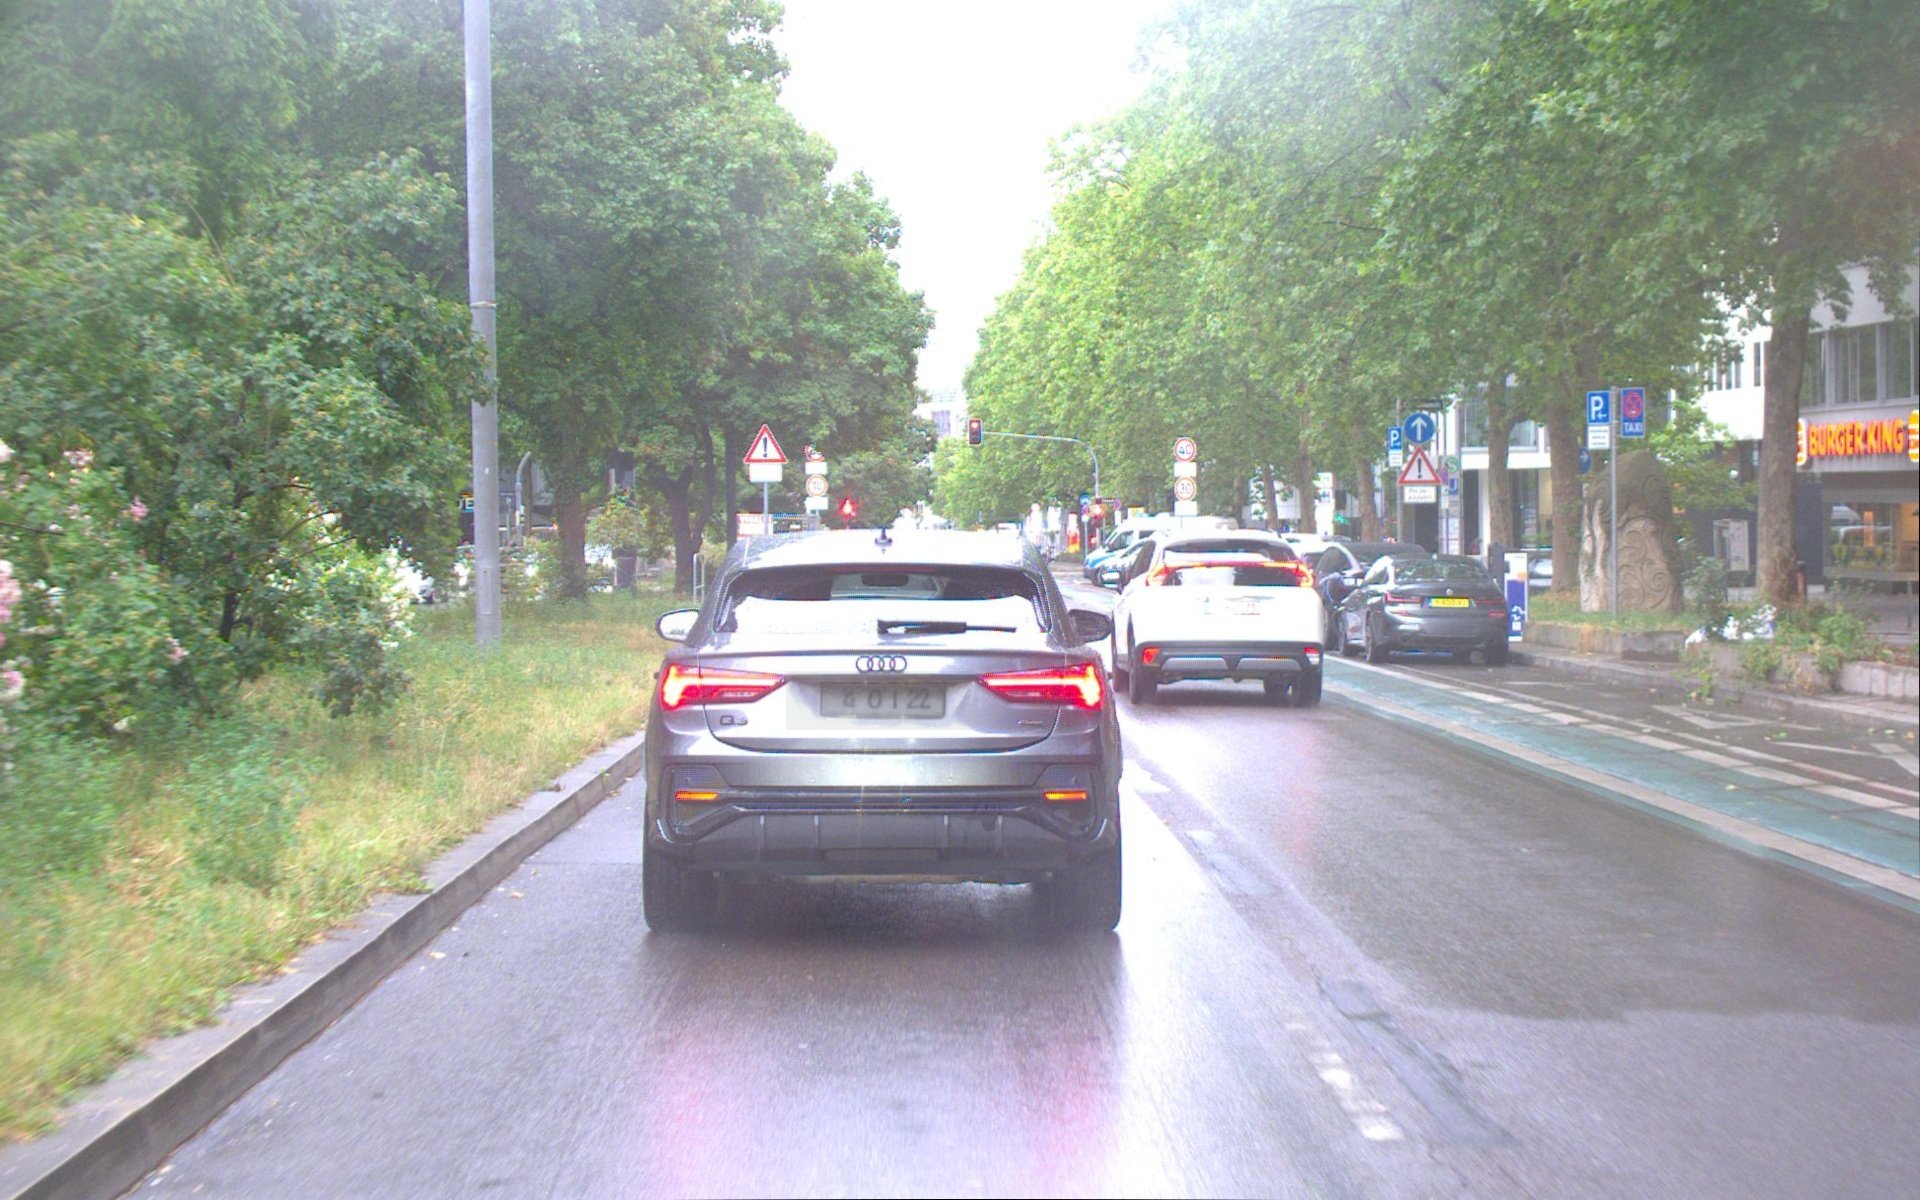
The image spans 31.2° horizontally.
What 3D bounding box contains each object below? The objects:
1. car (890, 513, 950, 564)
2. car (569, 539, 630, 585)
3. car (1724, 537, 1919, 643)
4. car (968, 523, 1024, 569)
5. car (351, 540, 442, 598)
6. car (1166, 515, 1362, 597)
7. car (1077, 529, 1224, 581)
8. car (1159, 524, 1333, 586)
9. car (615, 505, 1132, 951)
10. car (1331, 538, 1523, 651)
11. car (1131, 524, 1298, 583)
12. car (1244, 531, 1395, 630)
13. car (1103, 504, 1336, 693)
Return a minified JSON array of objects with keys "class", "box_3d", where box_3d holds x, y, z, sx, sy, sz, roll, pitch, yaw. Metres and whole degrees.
[{"class":"car","box_3d":[-1.410,-2.144,120.128,1.993,1.720,4.000,1,0,-1]},{"class":"car","box_3d":[-13.891,-1.452,132.604,1.760,1.698,4.333,1,0,1]},{"class":"car","box_3d":[9.747,-0.100,36.443,2.889,1.071,1.453,1,0,30]},{"class":"car","box_3d":[1.324,-2.012,129.031,1.993,1.645,4.000,1,0,-1]},{"class":"car","box_3d":[-14.300,-0.783,87.383,1.649,1.430,3.812,0,0,0]},{"class":"car","box_3d":[7.722,-1.133,87.434,4.602,2.007,1.964,1,1,38]},{"class":"car","box_3d":[6.572,-1.557,118.566,4.645,1.700,1.997,1,0,27]},{"class":"car","box_3d":[8.385,-1.320,100.818,4.645,1.700,1.997,1,0,27]},{"class":"car","box_3d":[-0.373,0.428,14.352,1.849,1.596,4.000,0,1,-2]},{"class":"car","box_3d":[6.245,-0.101,46.472,1.873,1.416,4.611,1,1,-1]},{"class":"car","box_3d":[7.734,-1.421,104.500,4.645,1.700,1.997,1,0,27]},{"class":"car","box_3d":[5.949,-0.331,57.289,1.727,1.566,4.074,1,0,-5]},{"class":"car","box_3d":[2.454,-0.034,33.433,1.878,1.691,4.000,1,0,-1]}]
